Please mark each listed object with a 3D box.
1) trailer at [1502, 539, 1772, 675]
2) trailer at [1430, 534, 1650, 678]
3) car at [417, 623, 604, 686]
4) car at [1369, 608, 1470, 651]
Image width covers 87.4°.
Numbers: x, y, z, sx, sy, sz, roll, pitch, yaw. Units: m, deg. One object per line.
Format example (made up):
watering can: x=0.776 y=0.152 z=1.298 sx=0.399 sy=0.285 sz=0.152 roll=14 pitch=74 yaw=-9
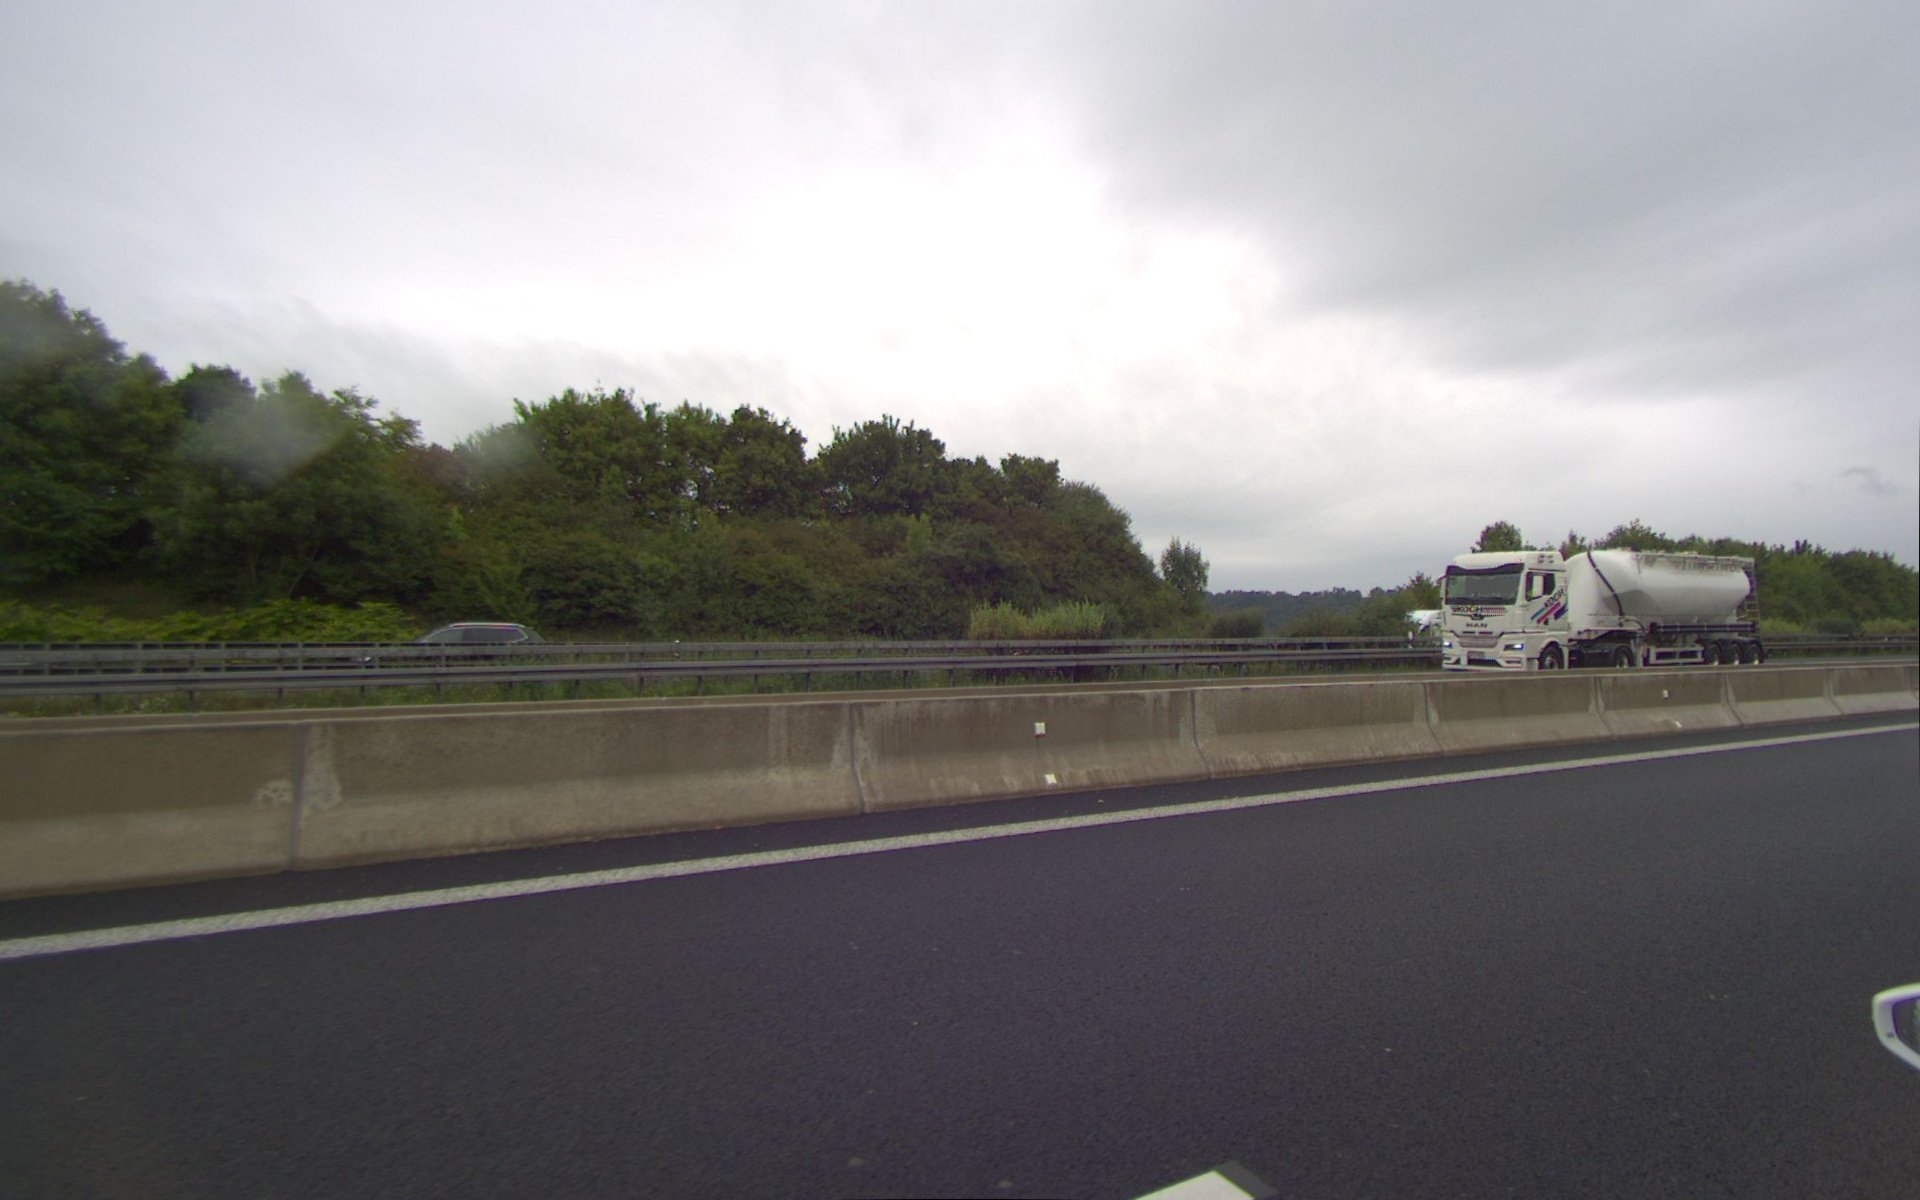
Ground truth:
trailer: x=21.591 y=0.345 z=31.726 sx=10.682 sy=3.786 sz=2.624 roll=2 pitch=-1 yaw=-30
trailer: x=16.785 y=0.239 z=28.995 sx=6.414 sy=3.765 sz=2.625 roll=2 pitch=-1 yaw=-30
car: x=-11.620 y=1.385 z=26.054 sx=4.211 sy=1.475 sz=1.809 roll=2 pitch=-1 yaw=-32
car: x=22.739 y=1.484 z=49.634 sx=5.237 sy=2.040 sz=1.865 roll=2 pitch=-1 yaw=-30
